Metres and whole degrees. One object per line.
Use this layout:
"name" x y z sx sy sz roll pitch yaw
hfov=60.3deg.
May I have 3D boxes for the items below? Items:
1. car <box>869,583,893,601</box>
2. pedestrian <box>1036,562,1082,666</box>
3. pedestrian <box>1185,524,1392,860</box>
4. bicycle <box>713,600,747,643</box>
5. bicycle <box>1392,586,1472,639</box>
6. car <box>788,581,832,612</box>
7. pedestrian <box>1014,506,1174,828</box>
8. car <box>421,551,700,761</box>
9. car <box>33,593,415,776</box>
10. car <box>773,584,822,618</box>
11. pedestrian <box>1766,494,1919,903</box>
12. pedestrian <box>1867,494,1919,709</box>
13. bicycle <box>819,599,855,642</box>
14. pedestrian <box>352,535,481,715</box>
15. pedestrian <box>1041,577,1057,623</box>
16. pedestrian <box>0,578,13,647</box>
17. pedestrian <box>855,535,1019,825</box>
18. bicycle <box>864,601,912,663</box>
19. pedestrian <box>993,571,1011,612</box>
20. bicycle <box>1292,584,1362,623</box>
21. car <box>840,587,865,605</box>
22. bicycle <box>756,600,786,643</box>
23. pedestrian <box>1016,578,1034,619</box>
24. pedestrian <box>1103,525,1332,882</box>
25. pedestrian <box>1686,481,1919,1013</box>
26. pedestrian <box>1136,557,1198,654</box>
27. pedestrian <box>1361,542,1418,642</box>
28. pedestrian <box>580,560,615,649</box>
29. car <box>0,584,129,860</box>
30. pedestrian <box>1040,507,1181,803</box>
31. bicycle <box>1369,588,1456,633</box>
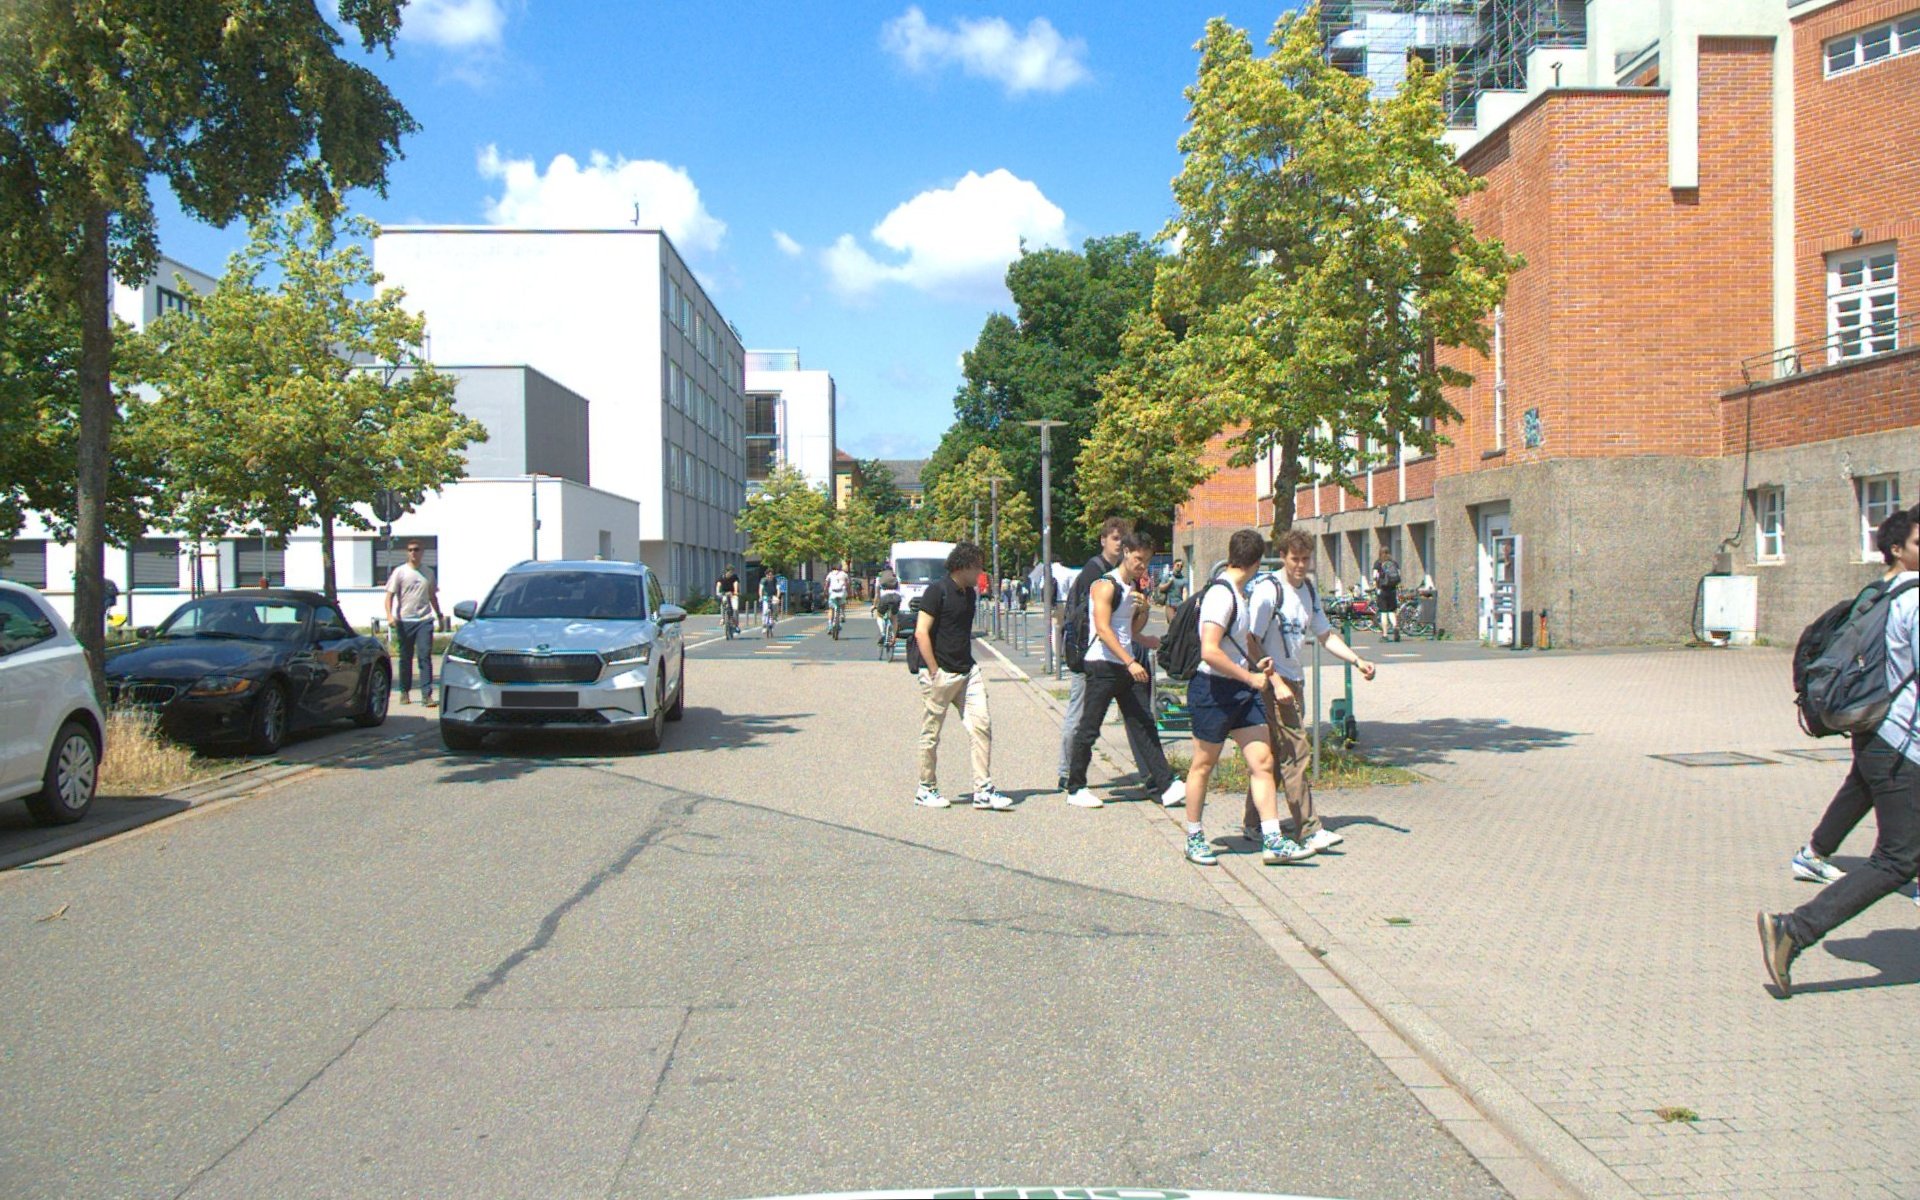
"car" -6.956 -0.729 145.667 1.758 1.556 4.001 -1 1 2
"pedestrian" 1.667 0.224 27.888 0.688 1.724 0.962 0 0 -1
"pedestrian" 1.840 0.479 9.257 0.891 1.769 0.676 -1 1 37
"bicycle" -5.519 0.500 39.788 0.663 0.981 2.001 0 0 -4
"bicycle" 9.990 0.266 35.044 1.504 1.051 0.560 -2 0 -3
"car" -7.894 -0.183 87.297 1.758 1.556 4.001 -1 1 2
"pedestrian" 0.869 0.420 10.840 0.610 2.015 0.819 -2 -1 -33
"car" -3.585 0.473 15.662 1.881 1.647 4.515 2 -1 -5
"car" -6.269 0.634 14.601 1.611 1.323 3.927 -1 1 -1
"car" -7.814 0.013 79.885 1.758 1.556 4.001 -1 1 2
"pedestrian" 4.260 0.413 7.381 0.698 1.750 0.978 -2 0 -44
"pedestrian" 8.904 -0.002 14.989 0.688 1.924 0.992 -3 1 -7
"bicycle" -3.051 0.508 41.155 0.792 1.020 2.122 2 -1 -3
"pedestrian" -6.132 0.260 18.631 1.008 1.936 1.162 -2 1 -38
"pedestrian" 3.651 0.003 68.134 0.564 1.892 0.569 -1 0 -4
"pedestrian" -25.226 0.325 43.144 0.679 1.780 0.636 0 0 -2
"pedestrian" -0.136 0.494 10.816 0.784 1.803 0.855 -1 1 19
"bicycle" -1.316 0.565 29.939 0.693 1.010 1.908 2 2 -7
"pedestrian" 1.972 -0.387 77.708 0.774 1.892 1.243 -1 0 -1
"bicycle" 10.149 0.096 45.763 1.773 1.002 0.560 -3 0 -3
"car" -9.446 -0.352 145.853 1.758 1.556 4.001 -1 1 2
"bicycle" -4.751 0.521 41.674 0.663 0.981 2.002 0 2 -4
"pedestrian" 3.028 -0.072 77.421 0.774 1.892 1.025 -1 0 -1
"pedestrian" 1.360 0.503 8.751 0.965 1.769 0.698 0 1 38
"pedestrian" 3.242 0.480 5.785 1.081 1.746 0.711 -2 0 7
"pedestrian" 3.870 0.097 31.008 0.837 1.763 1.158 -1 0 -9
"pedestrian" 8.325 -0.163 32.099 0.774 1.892 1.116 -1 0 -1
"pedestrian" -7.526 0.100 34.316 0.655 1.816 0.981 0 -1 -15
"car" -5.817 0.645 8.148 1.629 1.436 3.806 0 1 -2
"pedestrian" 1.072 0.371 11.684 0.809 2.014 0.692 -1 1 19
"bicycle" 10.115 0.223 36.982 1.773 0.928 0.560 -2 0 -3
